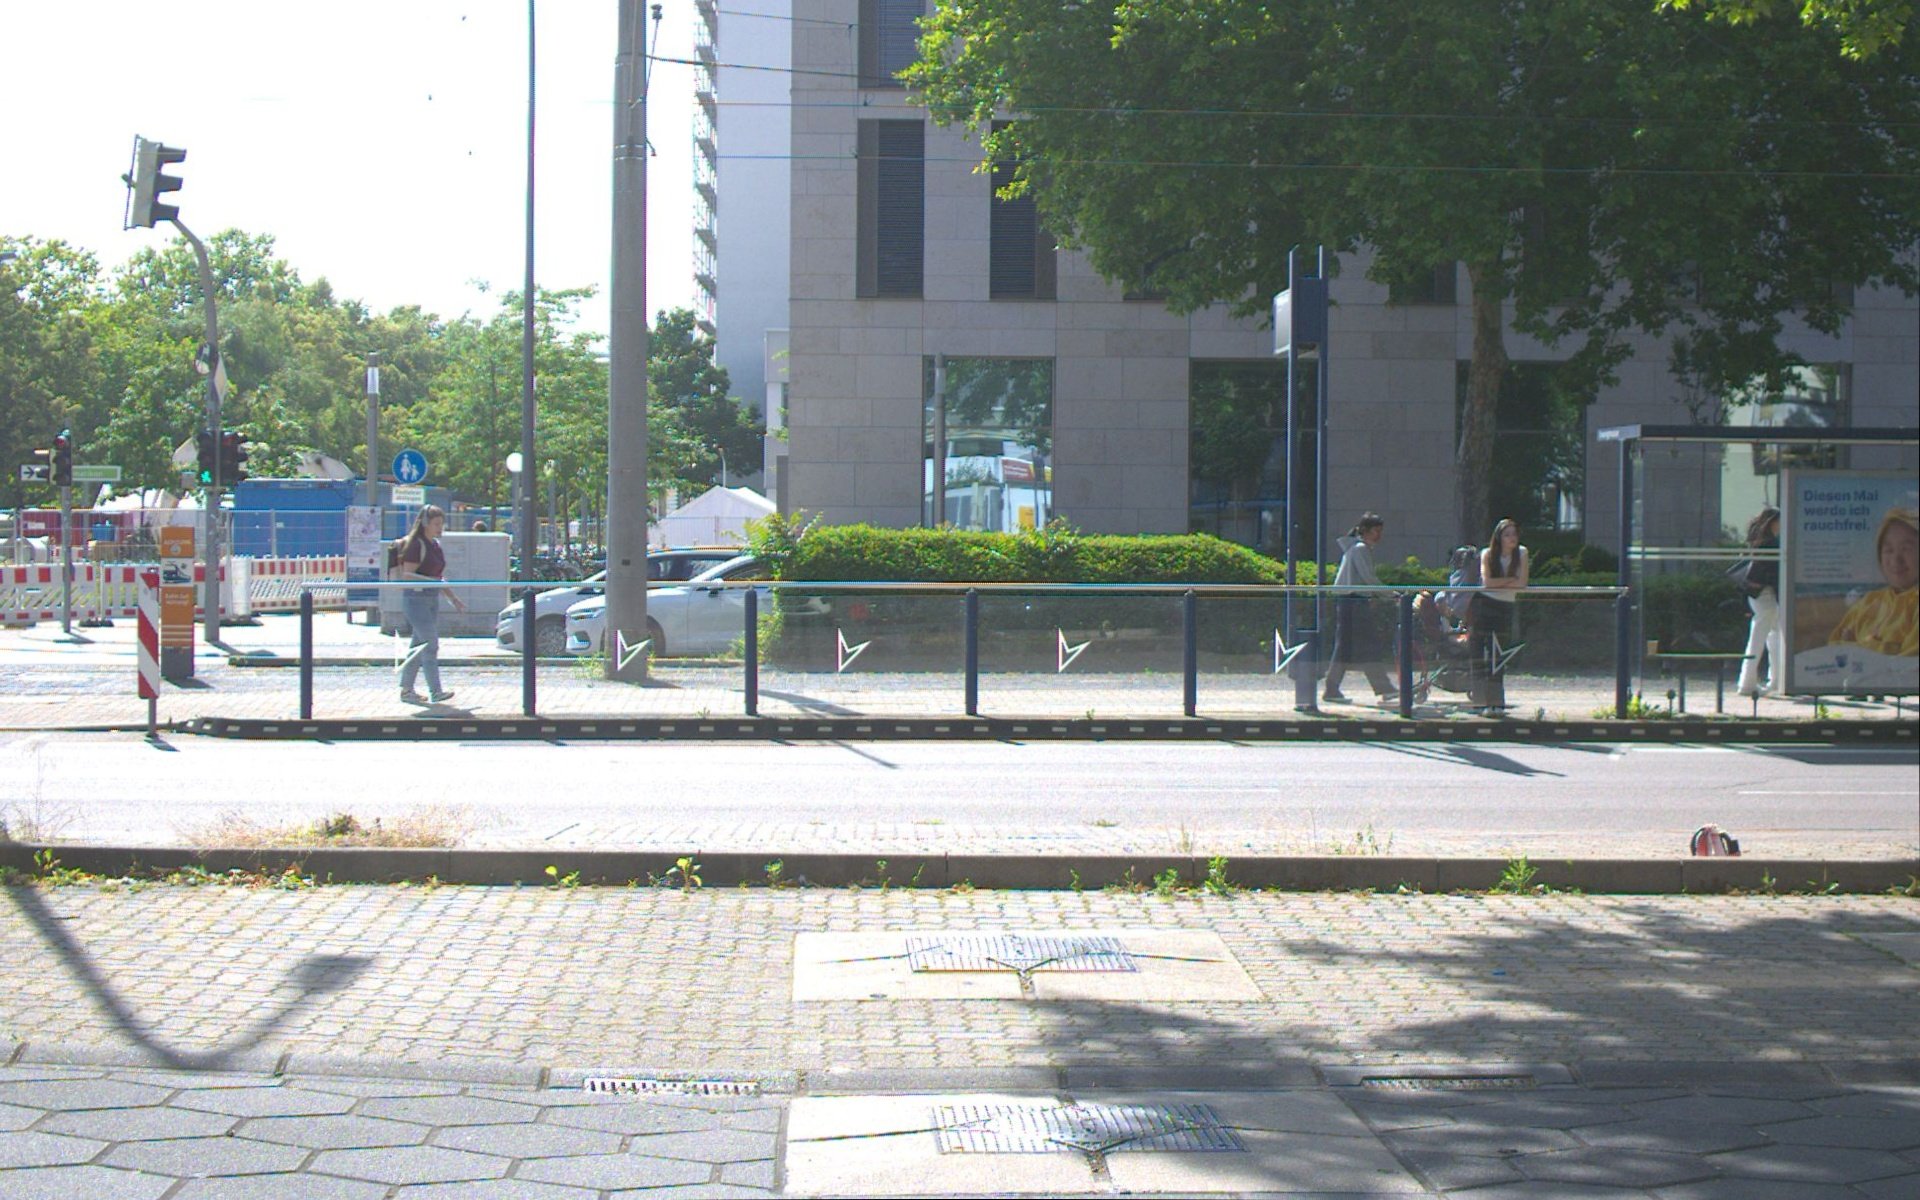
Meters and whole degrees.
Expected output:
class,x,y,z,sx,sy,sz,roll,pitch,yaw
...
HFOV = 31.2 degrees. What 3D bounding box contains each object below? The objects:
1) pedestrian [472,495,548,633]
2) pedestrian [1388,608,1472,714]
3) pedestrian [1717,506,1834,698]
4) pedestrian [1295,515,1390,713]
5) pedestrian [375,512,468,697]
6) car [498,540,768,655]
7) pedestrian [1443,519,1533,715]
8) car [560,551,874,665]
class,x,y,z,sx,sy,sz,roll,pitch,yaw
pedestrian,-7.398,-0.595,56.546,1.108,2.240,1.103,1,1,-2
pedestrian,4.011,0.517,29.380,0.691,0.877,0.503,1,1,7
pedestrian,7.252,0.012,30.597,0.932,1.677,0.503,1,1,7
pedestrian,3.282,0.114,29.467,0.777,1.677,0.503,1,1,7
pedestrian,-4.534,0.029,28.968,0.650,1.535,0.503,1,1,7
car,-4.585,-0.050,47.997,3.681,1.546,1.592,0,1,-7
pedestrian,4.359,0.132,28.425,0.584,1.586,0.670,1,3,-3
car,-2.893,0.085,41.436,3.681,1.308,1.592,1,1,-1
